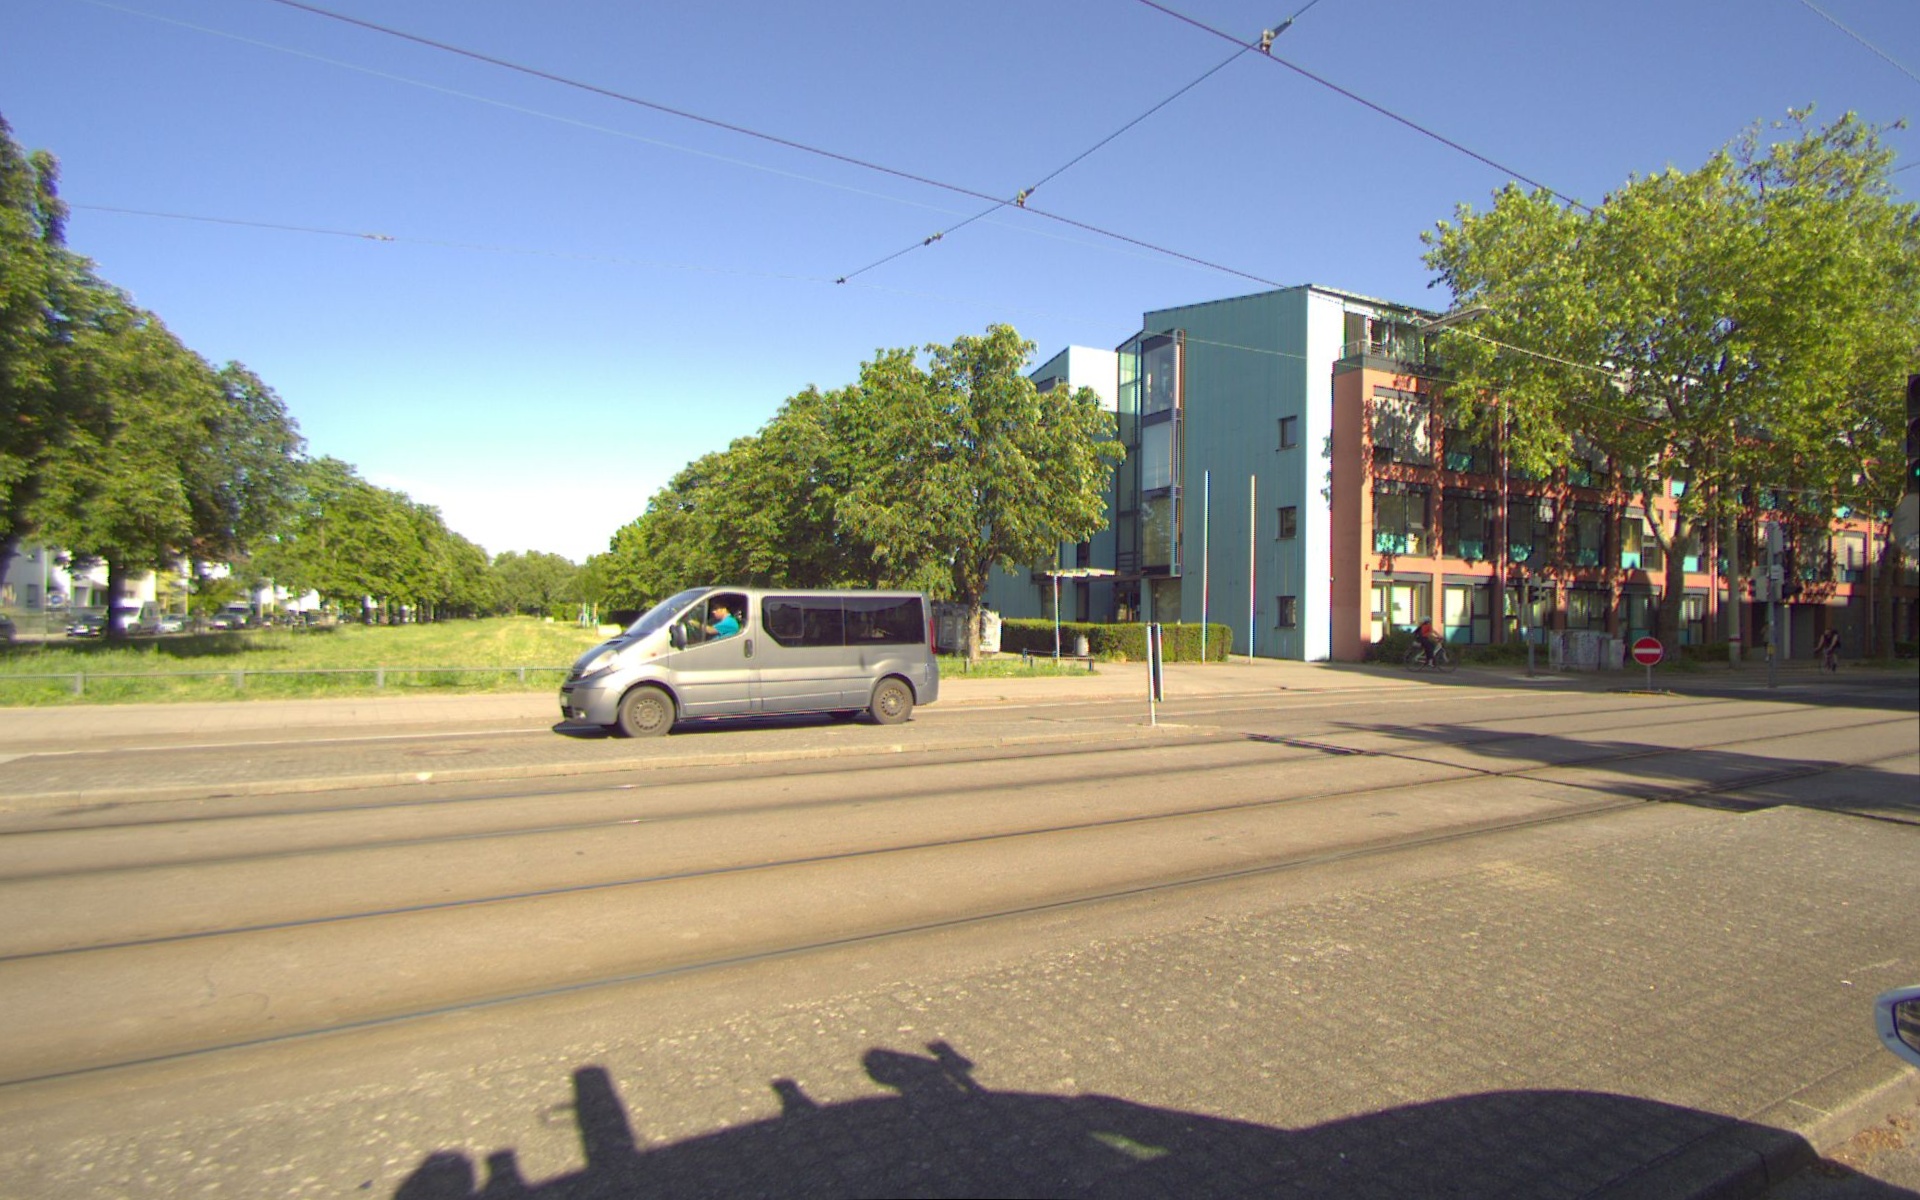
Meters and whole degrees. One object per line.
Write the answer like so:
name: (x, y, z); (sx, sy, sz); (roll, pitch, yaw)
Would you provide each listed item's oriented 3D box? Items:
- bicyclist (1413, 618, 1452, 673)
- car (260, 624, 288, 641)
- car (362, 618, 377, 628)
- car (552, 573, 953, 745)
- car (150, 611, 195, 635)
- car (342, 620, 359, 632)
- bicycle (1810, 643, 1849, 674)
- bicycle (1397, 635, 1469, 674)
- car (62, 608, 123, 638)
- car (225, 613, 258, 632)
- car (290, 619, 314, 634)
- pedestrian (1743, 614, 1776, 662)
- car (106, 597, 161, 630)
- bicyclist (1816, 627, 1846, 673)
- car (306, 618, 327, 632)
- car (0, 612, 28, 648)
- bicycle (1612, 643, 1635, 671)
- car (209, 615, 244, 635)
bicyclist: (15.027, 1.442, 31.946); (0.914, 1.715, 0.606); (1, 1, -2)
car: (-73.413, 3.435, 107.567); (1.791, 1.766, 3.864); (1, -1, -24)
car: (-103.776, 4.065, 176.571); (1.791, 1.766, 3.864); (1, -1, -24)
car: (-2.836, 0.737, 14.203); (5.192, 2.040, 2.009); (0, -2, -32)
car: (-61.024, 1.763, 77.895); (1.791, 1.766, 3.864); (1, -1, -24)
car: (-92.272, 3.915, 152.126); (1.791, 1.766, 3.864); (1, -1, -24)
bicycle: (31.834, 2.129, 36.753); (1.906, 1.056, 0.640); (1, 1, -36)
bicycle: (15.038, 1.727, 31.951); (1.996, 1.144, 0.633); (1, 1, -2)
car: (-53.872, 1.424, 62.461); (1.791, 1.766, 3.864); (1, -1, -24)
car: (-68.384, 2.112, 95.592); (1.791, 1.766, 3.864); (1, -1, -24)
car: (-79.545, 3.162, 121.448); (1.791, 1.766, 3.864); (1, -1, -24)
pedestrian: (34.977, 1.656, 43.921); (0.773, 2.041, 0.904); (0, 1, -35)
car: (-56.235, 0.922, 68.426); (1.791, 2.122, 4.159); (1, -1, -24)
bicyclist: (31.881, 1.834, 36.767); (0.773, 1.633, 0.640); (0, 1, -35)
car: (-84.218, 3.291, 131.465); (1.791, 1.766, 3.864); (1, -1, -24)
car: (-48.518, 1.471, 50.124); (1.791, 1.766, 3.864); (1, -1, -24)
bicycle: (23.457, 2.008, 35.497); (0.514, 0.918, 1.537); (0, -1, 39)
car: (-66.427, 2.220, 91.039); (1.791, 1.766, 3.864); (1, -1, -24)
